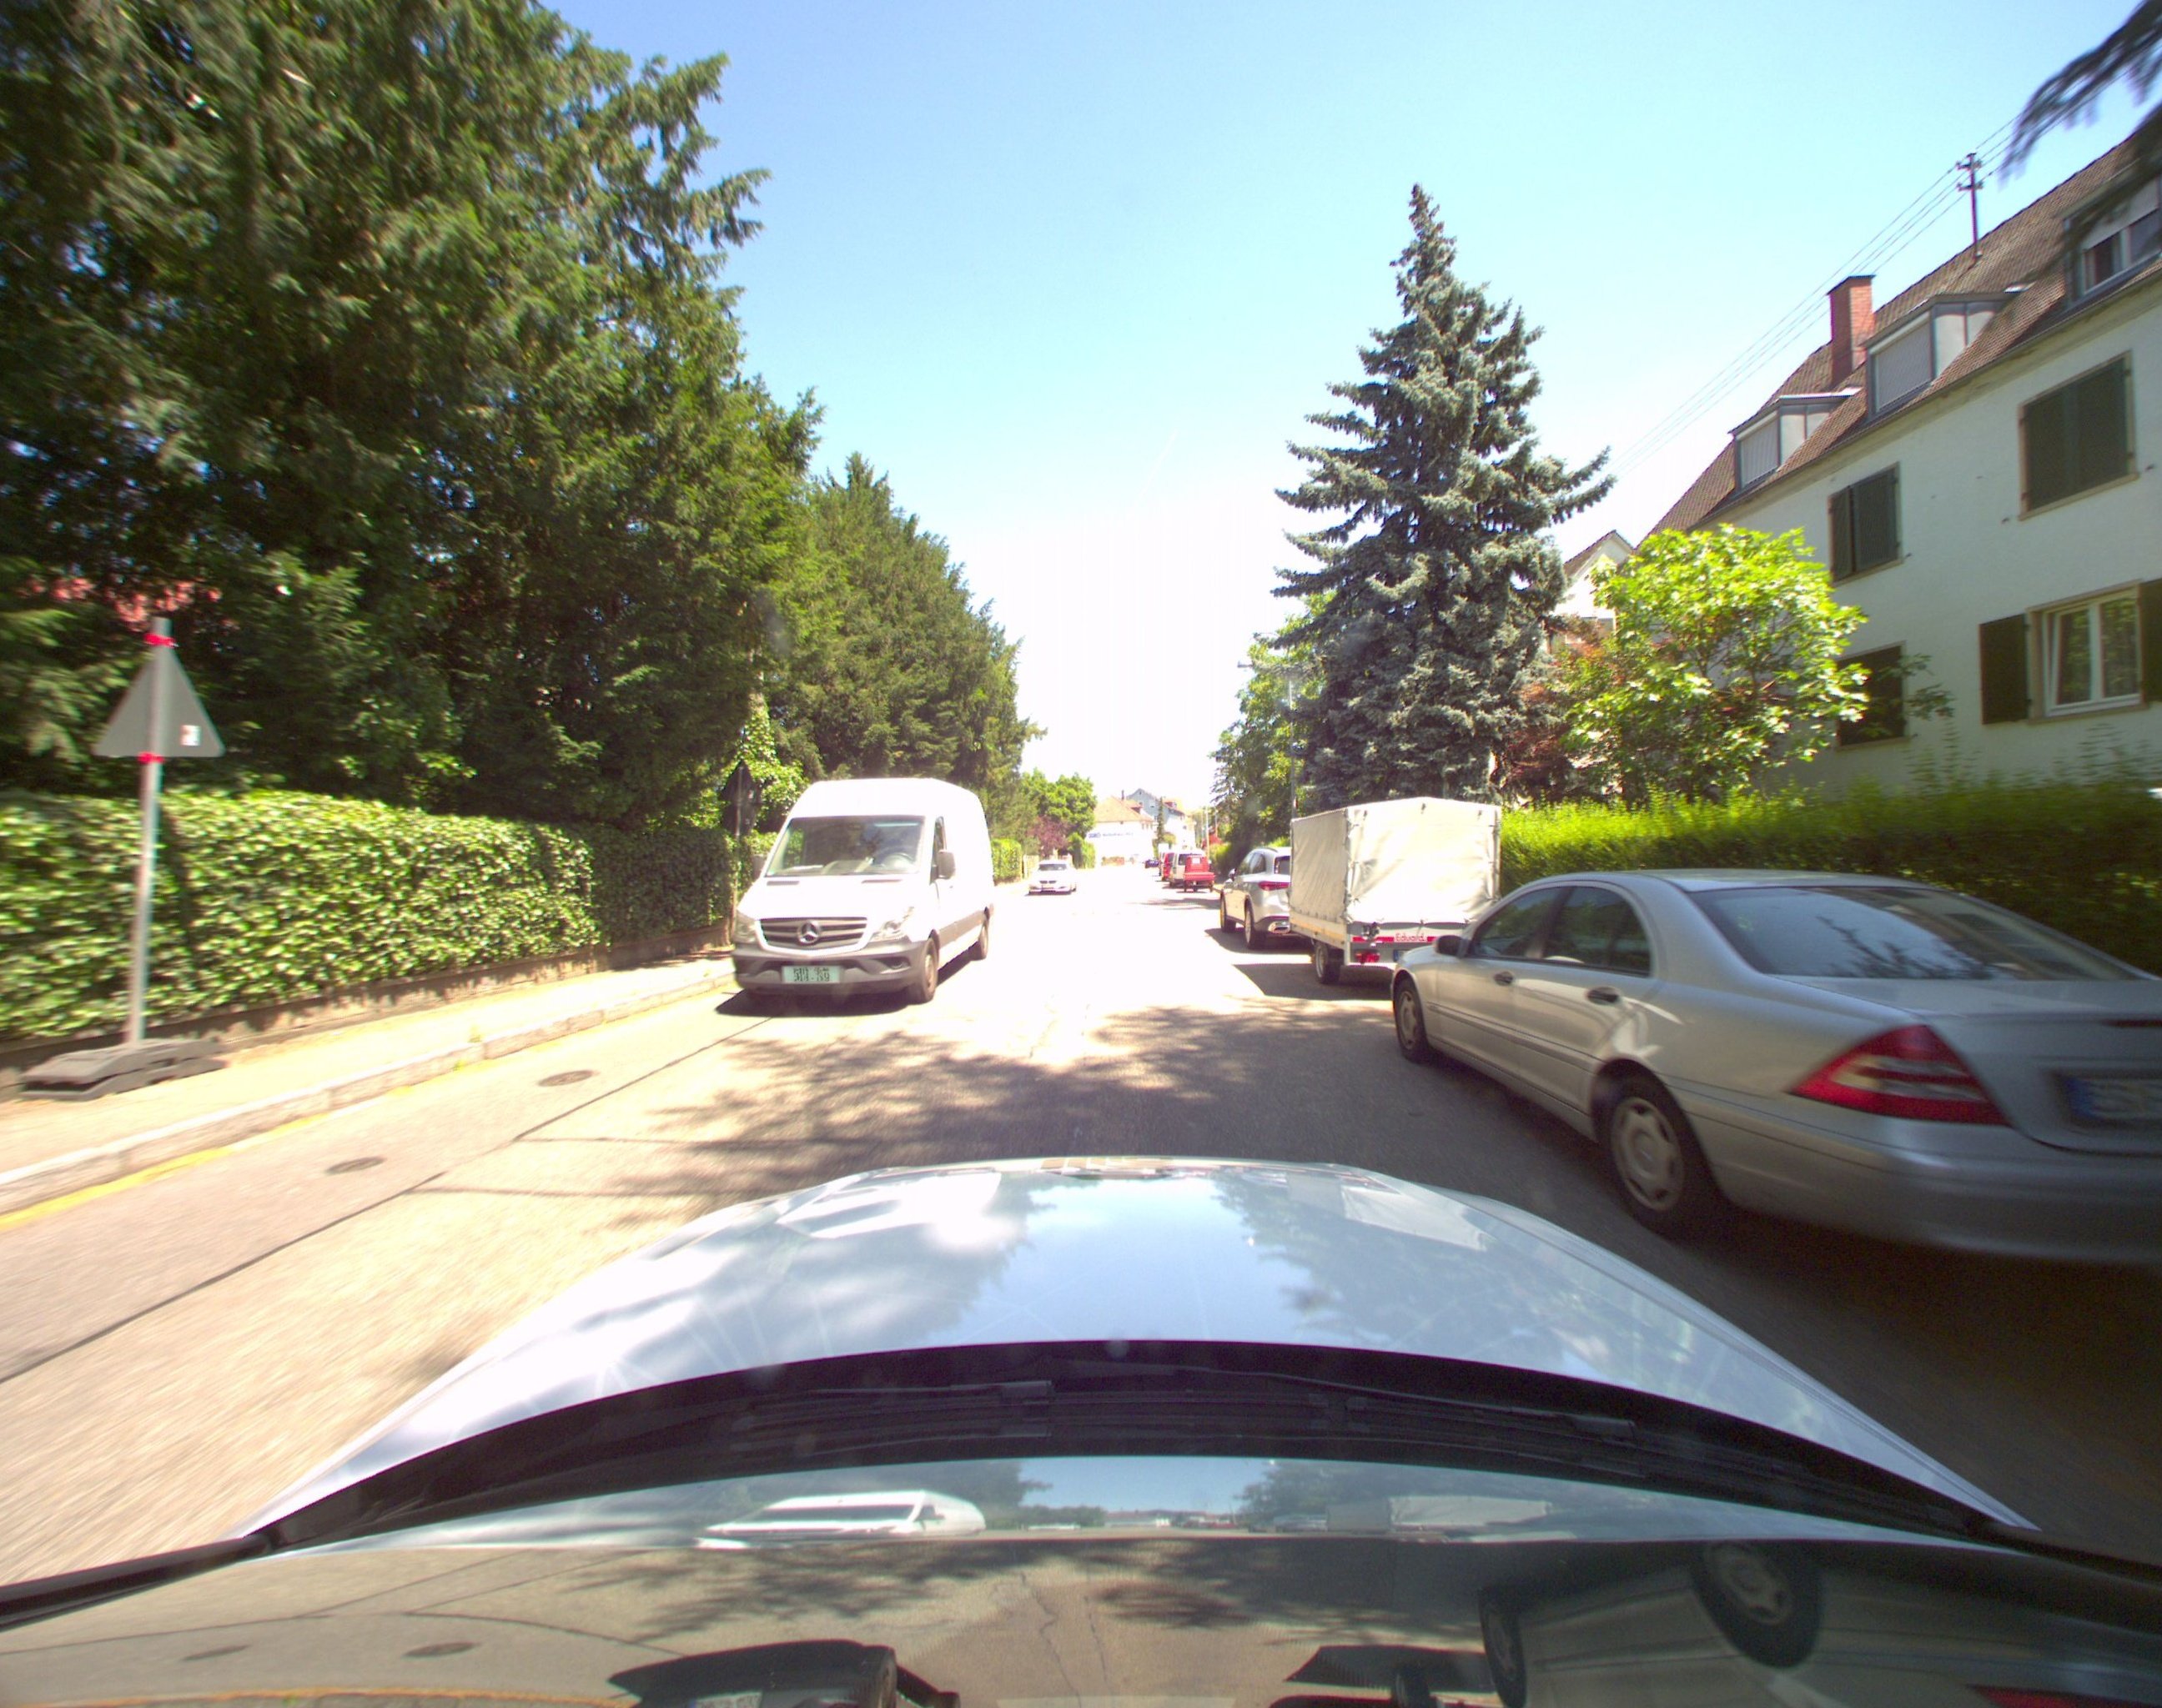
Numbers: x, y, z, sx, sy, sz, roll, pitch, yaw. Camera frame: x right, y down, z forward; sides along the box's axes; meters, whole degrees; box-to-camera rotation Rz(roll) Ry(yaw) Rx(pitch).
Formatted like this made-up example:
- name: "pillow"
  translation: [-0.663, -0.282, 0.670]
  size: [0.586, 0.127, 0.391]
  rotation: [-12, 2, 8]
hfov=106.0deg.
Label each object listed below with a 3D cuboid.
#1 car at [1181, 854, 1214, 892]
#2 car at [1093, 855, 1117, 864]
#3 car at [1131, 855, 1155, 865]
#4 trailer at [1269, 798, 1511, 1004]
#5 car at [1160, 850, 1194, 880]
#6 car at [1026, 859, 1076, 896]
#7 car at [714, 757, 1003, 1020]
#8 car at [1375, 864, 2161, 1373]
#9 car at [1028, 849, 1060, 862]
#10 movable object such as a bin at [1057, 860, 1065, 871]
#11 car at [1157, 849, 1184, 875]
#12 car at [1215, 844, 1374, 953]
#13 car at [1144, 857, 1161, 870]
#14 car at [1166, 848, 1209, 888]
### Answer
- name: "car"
  translation: [4.864, 0.767, 34.187]
  size: [1.254, 1.495, 2.713]
  rotation: [0, 0, 5]
- name: "car"
  translation: [3.920, 0.948, 134.980]
  size: [1.810, 1.510, 3.952]
  rotation: [-1, 1, -41]
- name: "car"
  translation: [11.094, 1.042, 144.904]
  size: [4.104, 1.774, 1.833]
  rotation: [-1, 0, 9]
- name: "trailer"
  translation: [3.547, 0.466, 10.069]
  size: [1.673, 2.068, 3.709]
  rotation: [0, 0, 2]
- name: "car"
  translation: [5.717, 0.655, 48.927]
  size: [1.894, 1.728, 4.397]
  rotation: [1, 0, 5]
- name: "car"
  translation: [-1.240, 0.979, 35.677]
  size: [1.857, 1.383, 4.605]
  rotation: [-2, 0, 1]
- name: "car"
  translation: [-2.469, 0.345, 10.926]
  size: [1.986, 2.533, 5.898]
  rotation: [-1, 0, 2]
- name: "car"
  translation: [3.065, 0.755, 4.380]
  size: [1.608, 1.396, 4.261]
  rotation: [0, -1, 2]
- name: "car"
  translation: [-4.690, 0.195, 103.045]
  size: [3.973, 1.510, 1.800]
  rotation: [0, 0, 1]
- name: "movable object such as a bin"
  translation: [-1.846, 1.051, 76.360]
  size: [0.704, 0.996, 0.474]
  rotation: [-1, -1, 3]
- name: "car"
  translation: [6.858, 0.584, 62.522]
  size: [1.894, 1.925, 4.724]
  rotation: [-1, 0, 5]
- name: "car"
  translation: [3.589, 0.665, 14.556]
  size: [1.765, 1.632, 4.606]
  rotation: [0, 0, 2]
- name: "car"
  translation: [8.488, 1.149, 96.180]
  size: [1.784, 1.510, 4.008]
  rotation: [1, -1, 8]
- name: "car"
  translation: [5.059, 0.654, 39.176]
  size: [1.738, 1.782, 4.547]
  rotation: [0, 0, 4]
